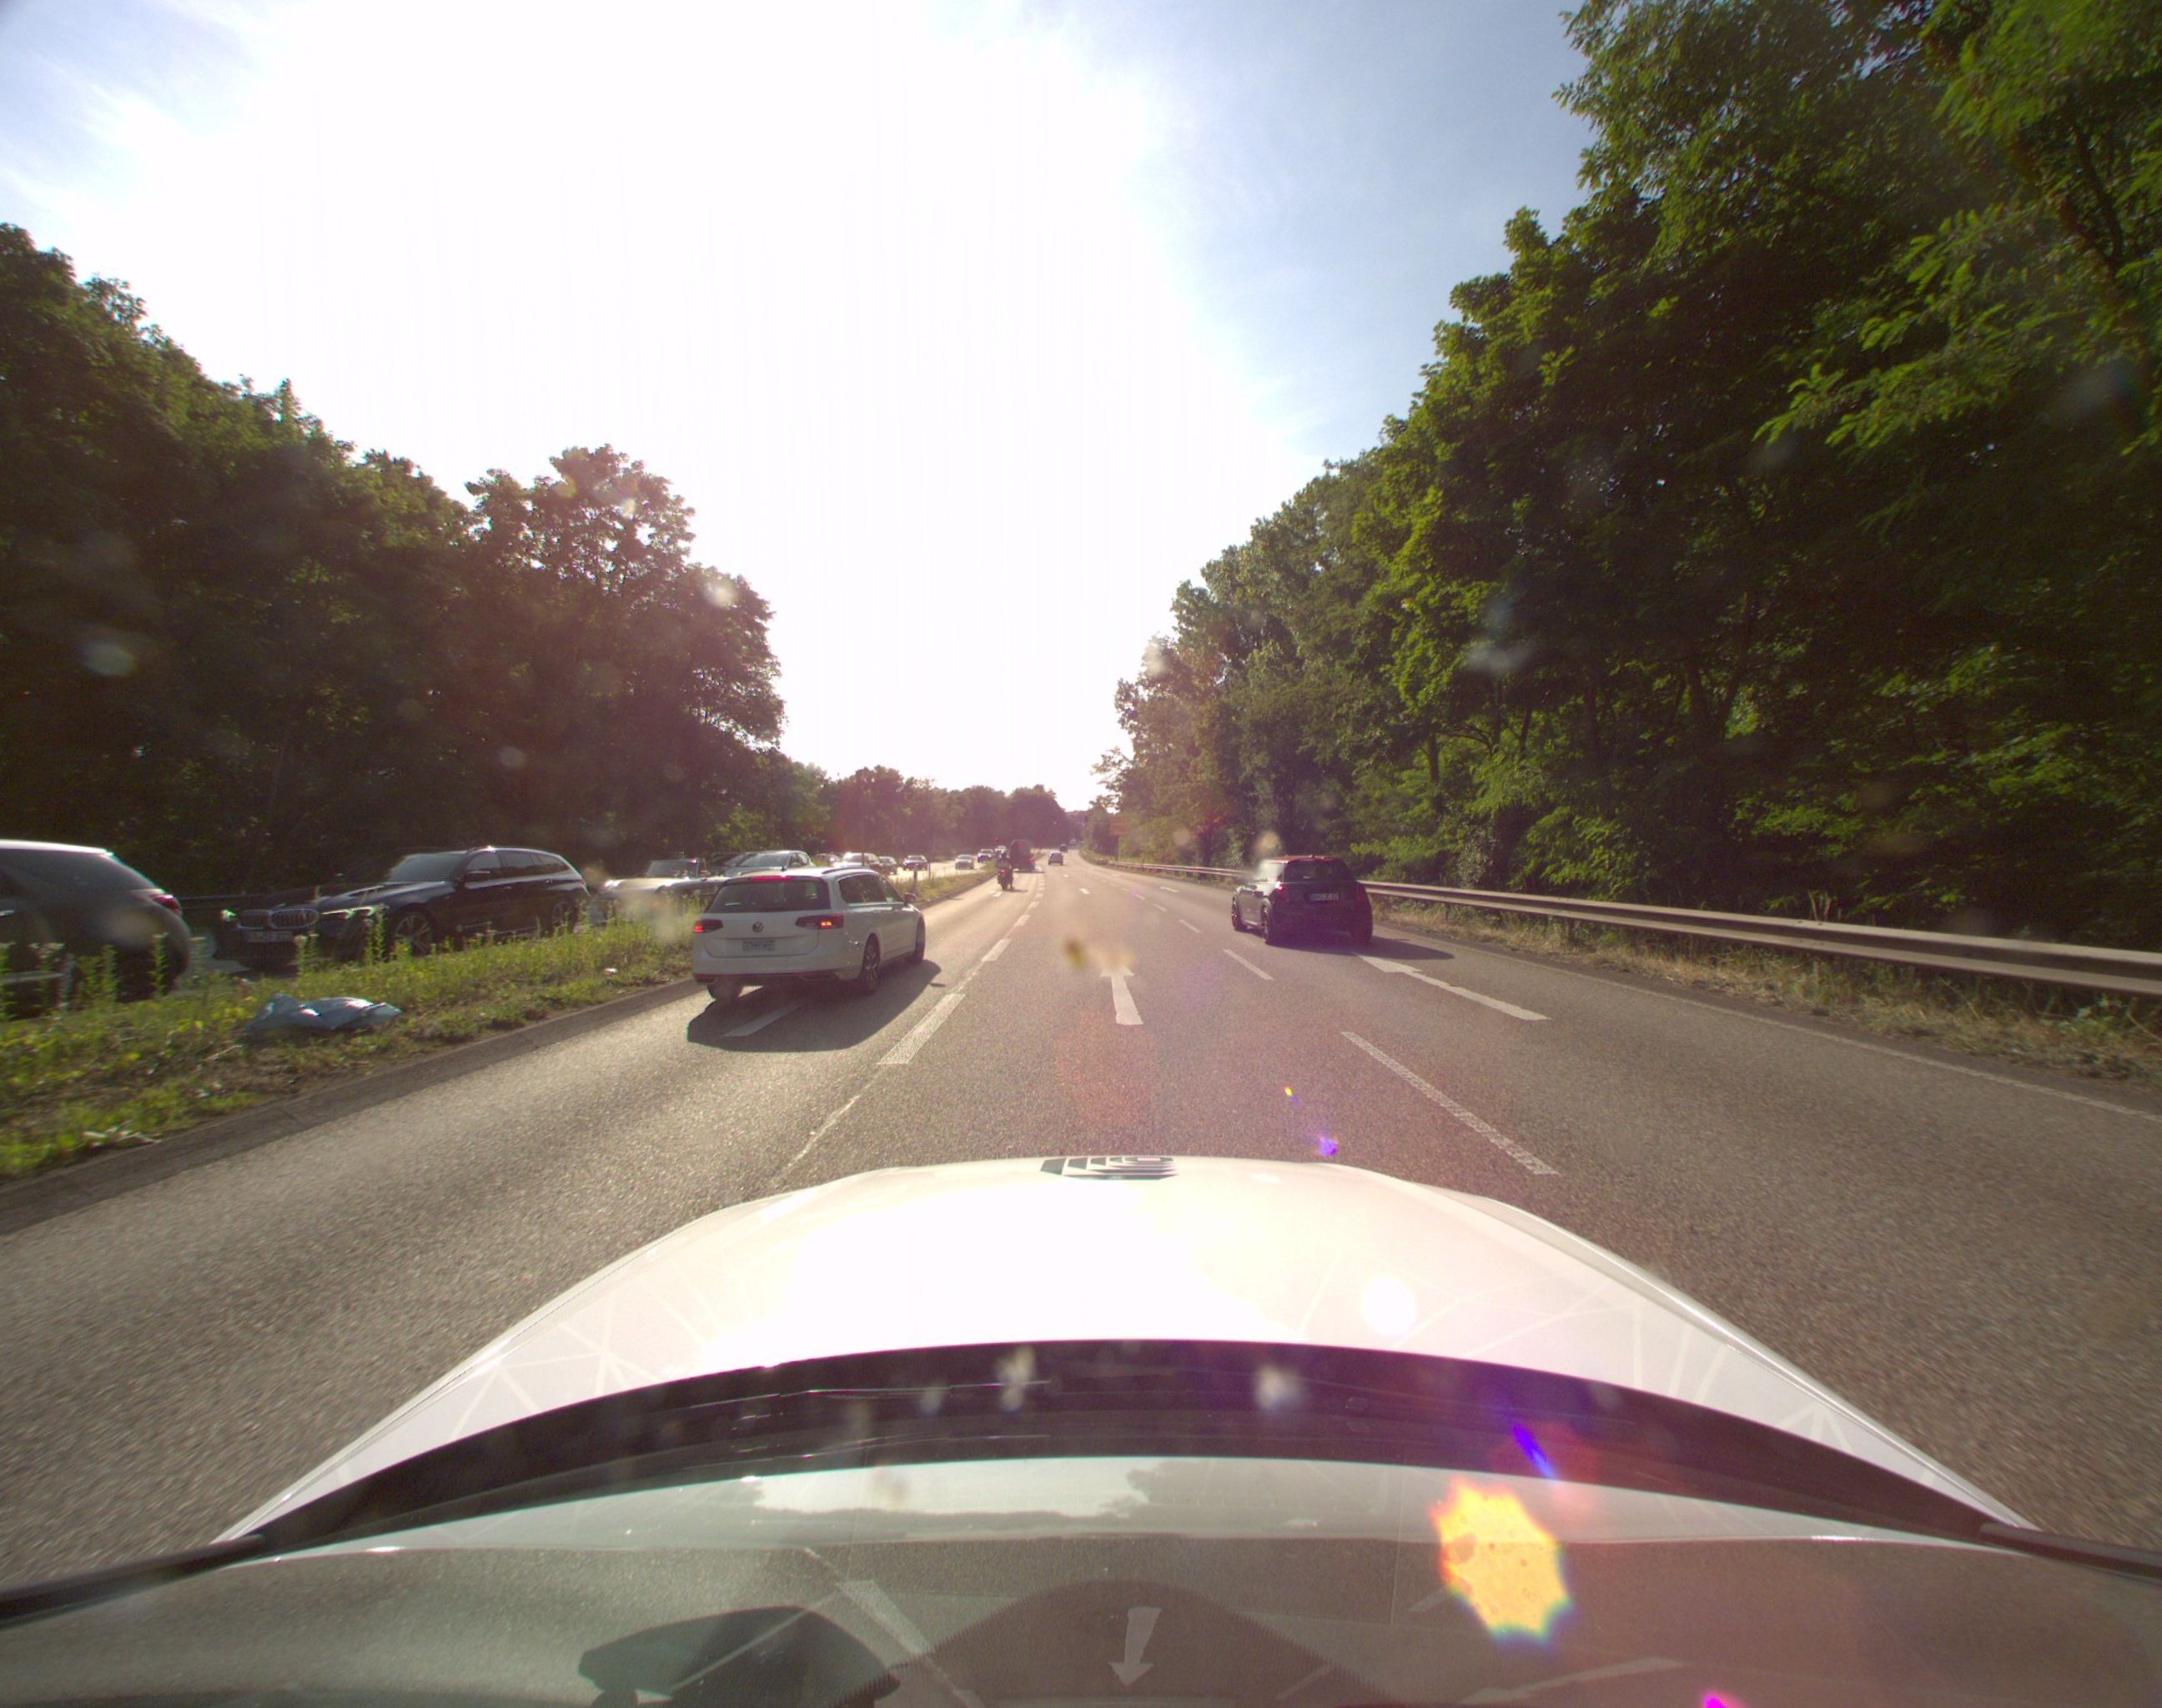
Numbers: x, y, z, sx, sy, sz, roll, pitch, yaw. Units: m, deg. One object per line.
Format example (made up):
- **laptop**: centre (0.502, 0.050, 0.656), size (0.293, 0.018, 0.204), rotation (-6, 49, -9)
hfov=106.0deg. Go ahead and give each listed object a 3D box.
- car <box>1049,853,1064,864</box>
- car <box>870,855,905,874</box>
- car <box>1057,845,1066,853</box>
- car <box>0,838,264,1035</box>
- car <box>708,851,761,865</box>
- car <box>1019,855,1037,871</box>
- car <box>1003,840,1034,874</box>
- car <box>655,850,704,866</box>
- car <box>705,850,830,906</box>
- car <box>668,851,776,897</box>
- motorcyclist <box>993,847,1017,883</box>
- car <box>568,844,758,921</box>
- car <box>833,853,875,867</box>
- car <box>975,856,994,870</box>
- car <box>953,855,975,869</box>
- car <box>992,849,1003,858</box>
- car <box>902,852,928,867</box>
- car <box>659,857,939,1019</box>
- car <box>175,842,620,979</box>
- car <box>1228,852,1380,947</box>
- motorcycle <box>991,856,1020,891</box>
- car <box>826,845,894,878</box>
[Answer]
- **car**: centre (-3.038, 0.563, 102.403), size (1.755, 1.380, 3.972), rotation (1, 0, 1)
- **car**: centre (-15.505, 0.831, 65.513), size (1.733, 1.378, 4.374), rotation (-1, 0, 0)
- **car**: centre (-4.289, -1.055, 176.456), size (1.741, 1.537, 3.920), rotation (1, 0, -4)
- **car**: centre (-8.655, 0.613, 5.640), size (1.701, 1.423, 4.211), rotation (-1, 0, 0)
- **car**: centre (-40.838, 0.467, 96.042), size (5.029, 1.490, 2.451), rotation (1, 0, 5)
- **car**: centre (-5.339, 0.873, 81.982), size (1.641, 1.489, 4.100), rotation (-1, 0, -2)
- **car**: centre (-5.617, 0.220, 74.404), size (2.203, 2.888, 7.010), rotation (-1, 0, 0)
- **car**: centre (-47.725, 0.462, 96.824), size (4.615, 1.727, 2.195), rotation (1, 0, 5)
- **car**: centre (-8.866, 0.606, 23.475), size (1.862, 1.417, 4.415), rotation (-1, 0, 0)
- **car**: centre (-12.710, 0.658, 29.180), size (1.862, 1.461, 4.415), rotation (-1, 0, 0)
- **motorcyclist**: centre (-3.473, 0.495, 37.435), size (0.880, 1.616, 1.291), rotation (1, 0, 2)
- **car**: centre (-8.749, 0.529, 17.555), size (1.761, 1.417, 4.433), rotation (-1, 0, 0)
- **car**: centre (-26.808, 0.685, 96.249), size (4.384, 1.490, 2.004), rotation (1, 0, 6)
- **car**: centre (-12.987, 1.219, 109.876), size (2.071, 1.763, 4.752), rotation (-2, 0, -3)
- **car**: centre (-12.142, 0.799, 84.692), size (1.784, 1.411, 4.222), rotation (1, 0, -3)
- **car**: centre (-15.571, -0.074, 152.084), size (1.880, 1.503, 4.257), rotation (-2, 0, -5)
- **car**: centre (-16.101, 0.518, 79.163), size (1.784, 1.406, 4.749), rotation (0, 0, -3)
- **car**: centre (-3.253, 0.850, 10.589), size (1.864, 1.521, 4.834), rotation (2, 0, 0)
- **car**: centre (-8.776, 0.587, 11.303), size (1.761, 1.423, 5.192), rotation (-1, 0, 0)
- **car**: centre (3.829, 0.702, 14.657), size (1.812, 1.467, 3.875), rotation (0, 0, 2)
- **motorcycle**: centre (-3.433, 0.876, 37.350), size (0.905, 1.453, 2.690), rotation (-3, 0, 2)
- **car**: centre (-12.455, 0.396, 46.321), size (2.096, 1.708, 6.224), rotation (-1, 0, 0)
